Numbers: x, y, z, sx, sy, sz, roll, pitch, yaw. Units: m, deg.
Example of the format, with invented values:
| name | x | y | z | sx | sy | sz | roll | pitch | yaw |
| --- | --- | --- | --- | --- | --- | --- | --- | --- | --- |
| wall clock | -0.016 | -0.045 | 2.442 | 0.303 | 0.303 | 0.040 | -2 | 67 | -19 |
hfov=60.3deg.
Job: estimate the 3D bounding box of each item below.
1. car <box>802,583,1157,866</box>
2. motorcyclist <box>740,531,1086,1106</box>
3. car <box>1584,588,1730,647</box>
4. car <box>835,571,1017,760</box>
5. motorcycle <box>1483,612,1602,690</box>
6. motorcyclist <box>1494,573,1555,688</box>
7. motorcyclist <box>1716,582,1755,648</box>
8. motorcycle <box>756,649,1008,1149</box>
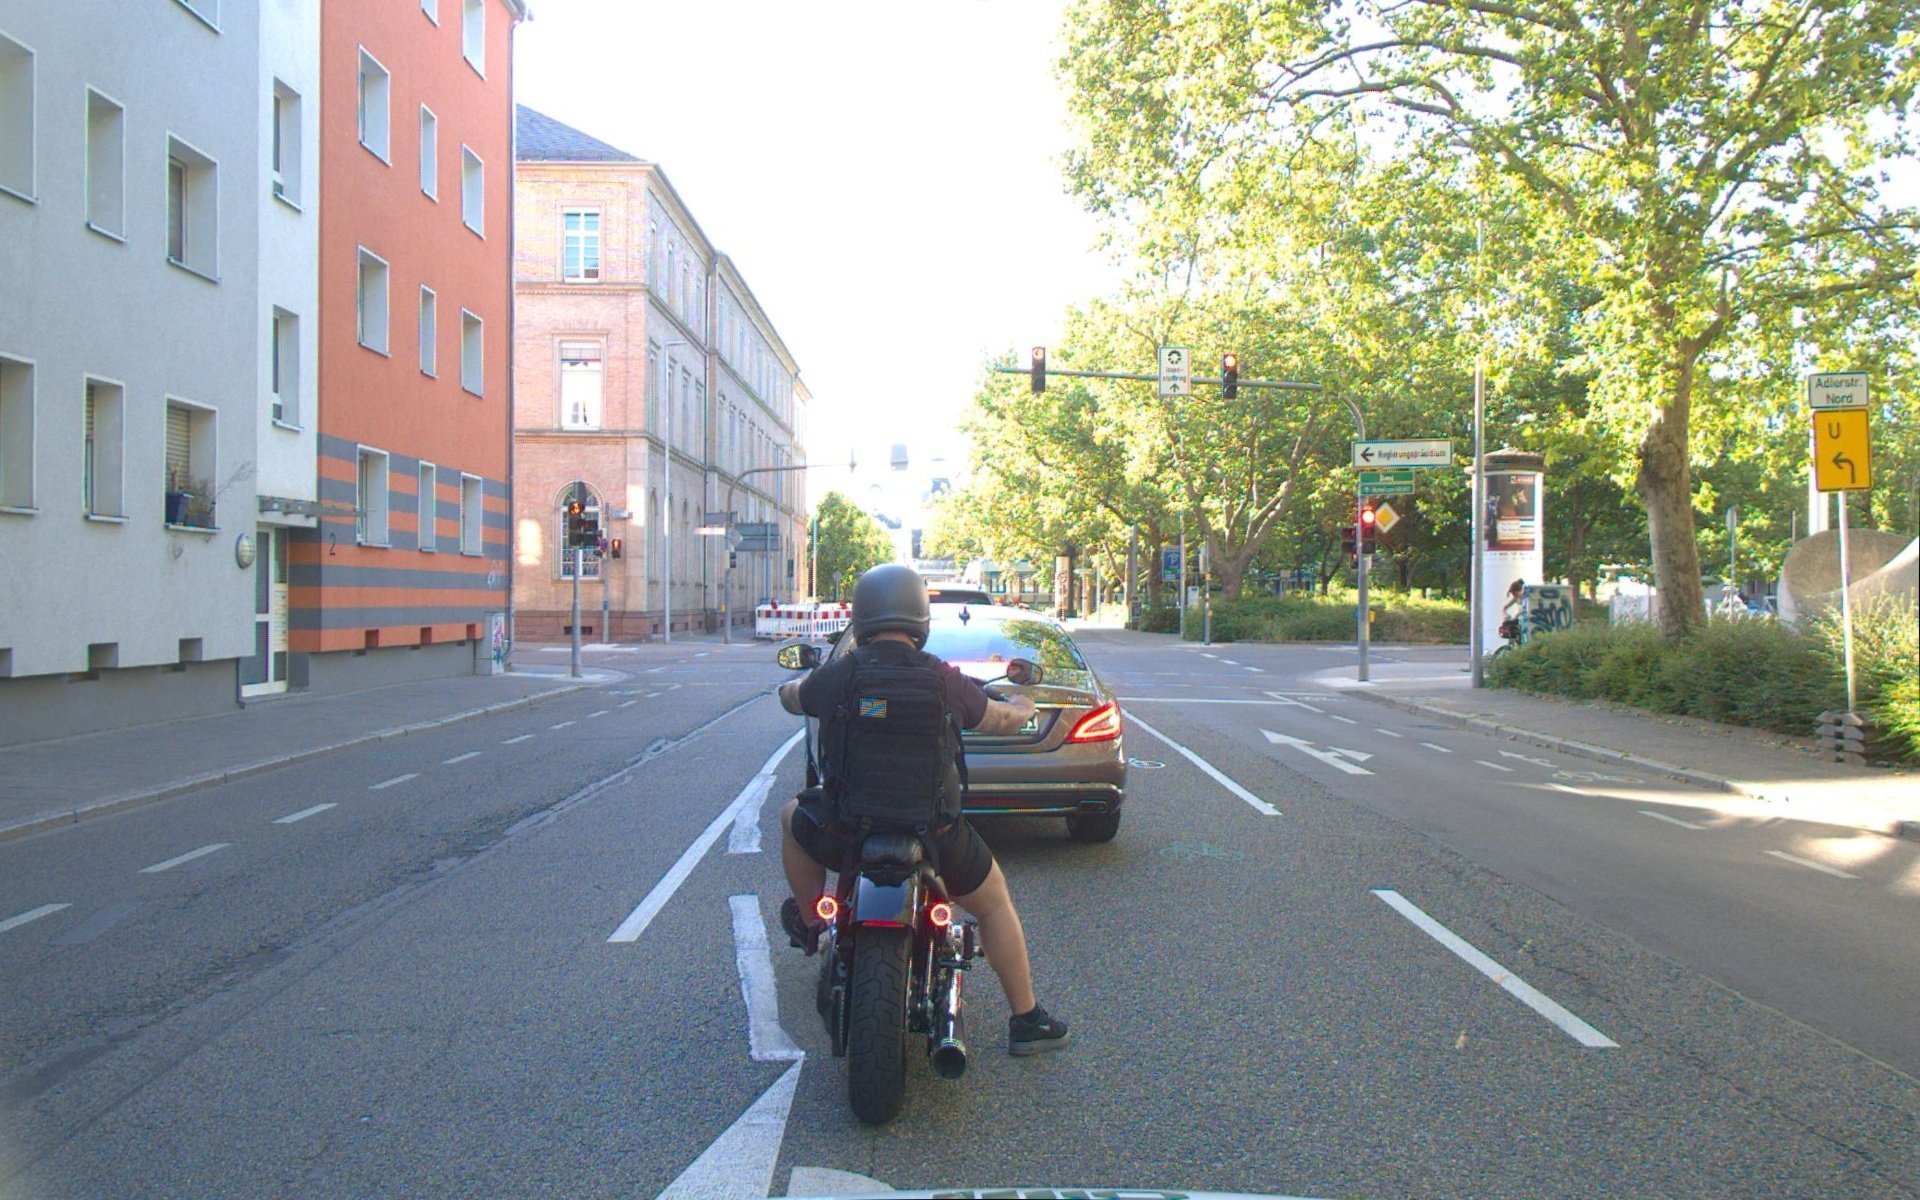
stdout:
| name | x | y | z | sx | sy | sz | roll | pitch | yaw |
| --- | --- | --- | --- | --- | --- | --- | --- | --- | --- |
| car | -0.085 | 0.687 | 11.115 | 1.790 | 1.512 | 4.326 | 1 | 0 | -7 |
| motorcyclist | -0.141 | 0.631 | 5.315 | 0.970 | 1.639 | 1.120 | 1 | 0 | -1 |
| car | 21.994 | 0.546 | 52.282 | 3.907 | 1.803 | 1.737 | 0 | 0 | -3 |
| car | -0.330 | 0.603 | 16.958 | 1.618 | 1.681 | 3.999 | 1 | 0 | -1 |
| motorcycle | 9.777 | 0.842 | 27.812 | 1.743 | 1.265 | 0.723 | 1 | 0 | 4 |
| motorcyclist | 9.485 | 0.510 | 27.823 | 0.805 | 1.896 | 0.672 | 1 | -1 | 4 |
| motorcyclist | 22.571 | 0.431 | 48.135 | 0.962 | 1.909 | 0.376 | 0 | -1 | 3 |
| motorcycle | -0.219 | 0.821 | 5.405 | 0.646 | 1.261 | 2.057 | 1 | 0 | -1 |
